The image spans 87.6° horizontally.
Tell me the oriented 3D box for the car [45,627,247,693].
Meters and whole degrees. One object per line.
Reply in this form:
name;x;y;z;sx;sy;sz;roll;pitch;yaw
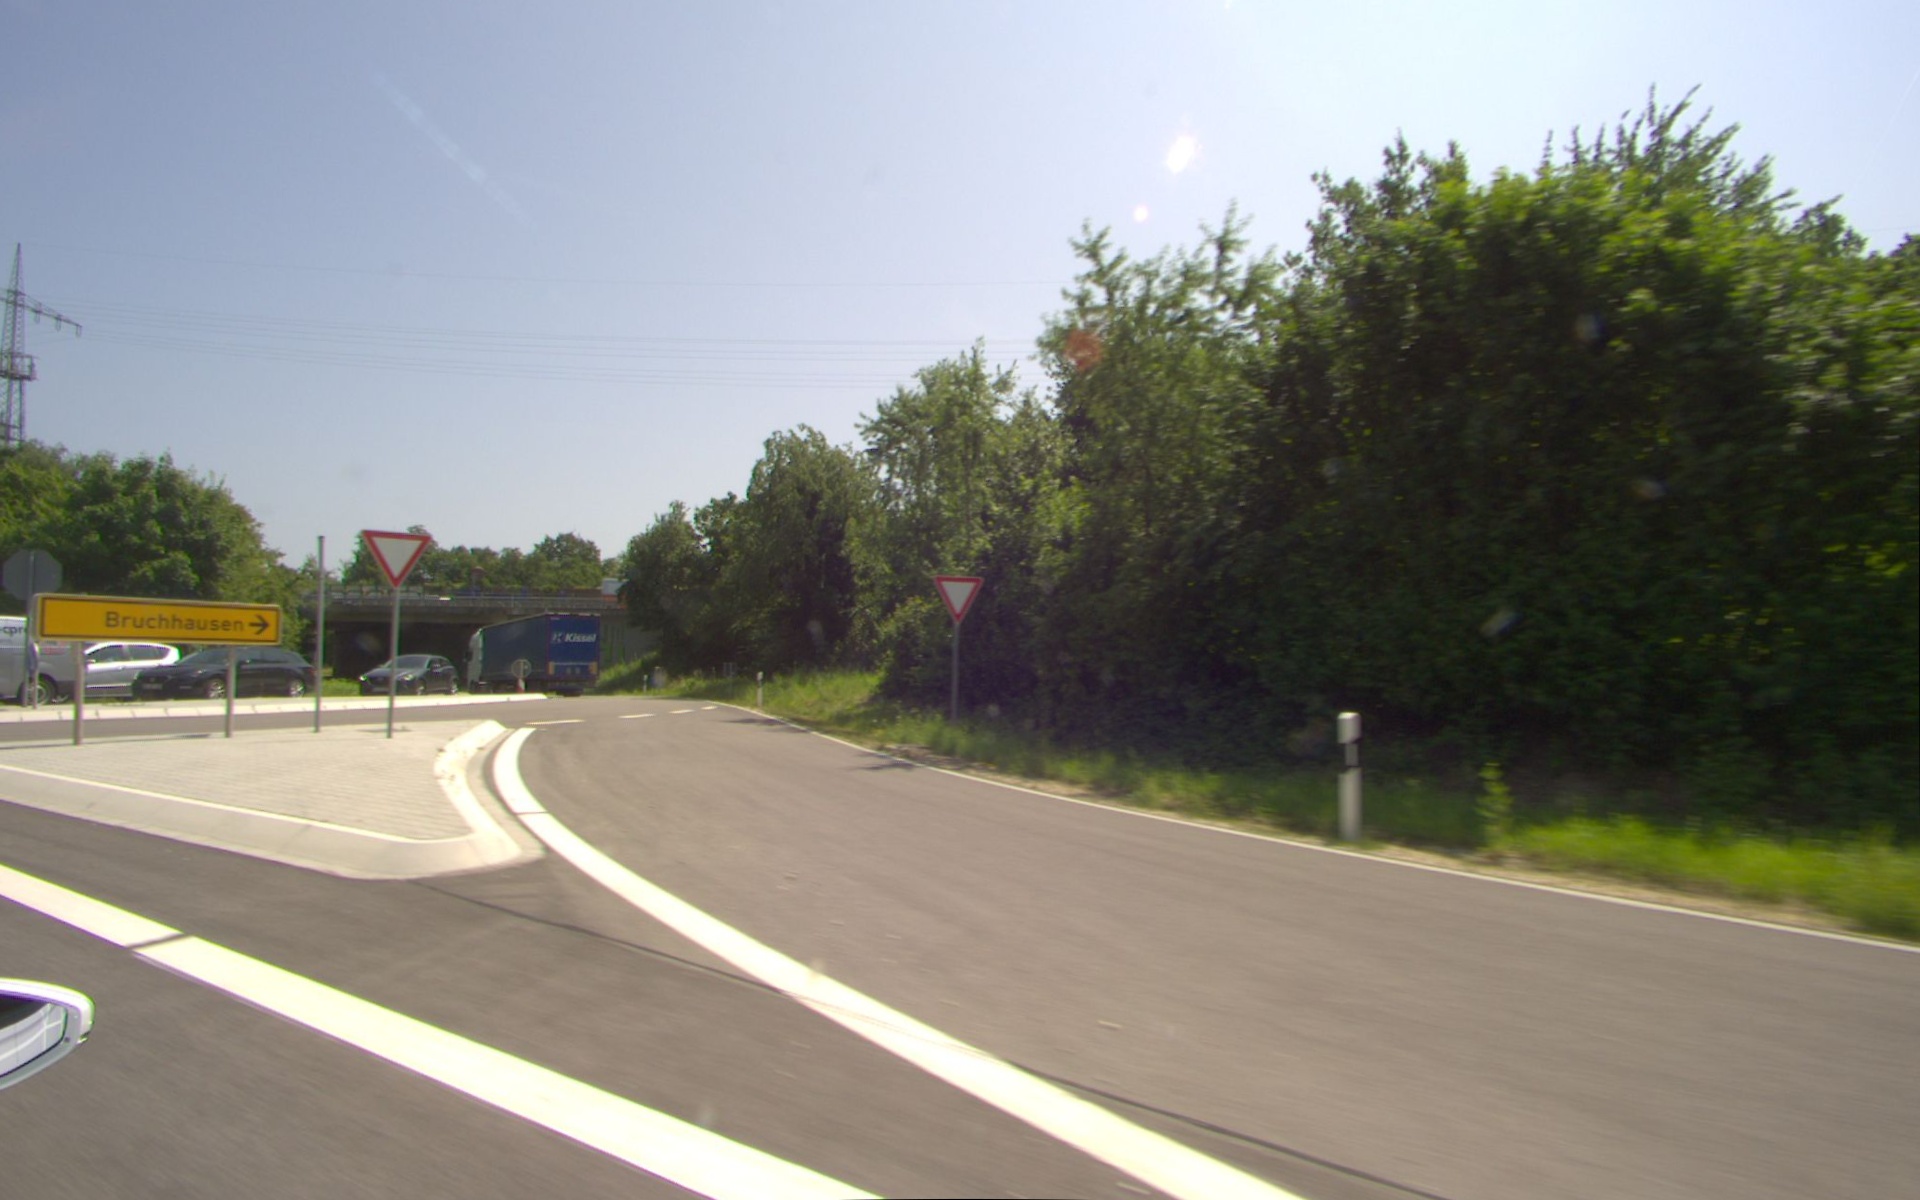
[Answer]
car;-21.448;1.527;26.610;1.810;1.600;3.994;0;-1;9

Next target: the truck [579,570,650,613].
truck;-27.693;-0.649;80.327;4.786;3.318;2.479;0;-1;4

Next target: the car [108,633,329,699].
car;-18.608;1.630;25.449;1.832;1.492;4.565;0;-2;7

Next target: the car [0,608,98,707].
car;-19.839;1.071;18.974;1.975;1.929;5.234;0;-4;9

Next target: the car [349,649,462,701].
car;-18.383;2.469;33.434;1.776;1.618;4.100;0;-3;-5

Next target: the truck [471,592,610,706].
truck;-23.092;2.506;54.269;3.333;5.383;15.230;0;-1;-37
